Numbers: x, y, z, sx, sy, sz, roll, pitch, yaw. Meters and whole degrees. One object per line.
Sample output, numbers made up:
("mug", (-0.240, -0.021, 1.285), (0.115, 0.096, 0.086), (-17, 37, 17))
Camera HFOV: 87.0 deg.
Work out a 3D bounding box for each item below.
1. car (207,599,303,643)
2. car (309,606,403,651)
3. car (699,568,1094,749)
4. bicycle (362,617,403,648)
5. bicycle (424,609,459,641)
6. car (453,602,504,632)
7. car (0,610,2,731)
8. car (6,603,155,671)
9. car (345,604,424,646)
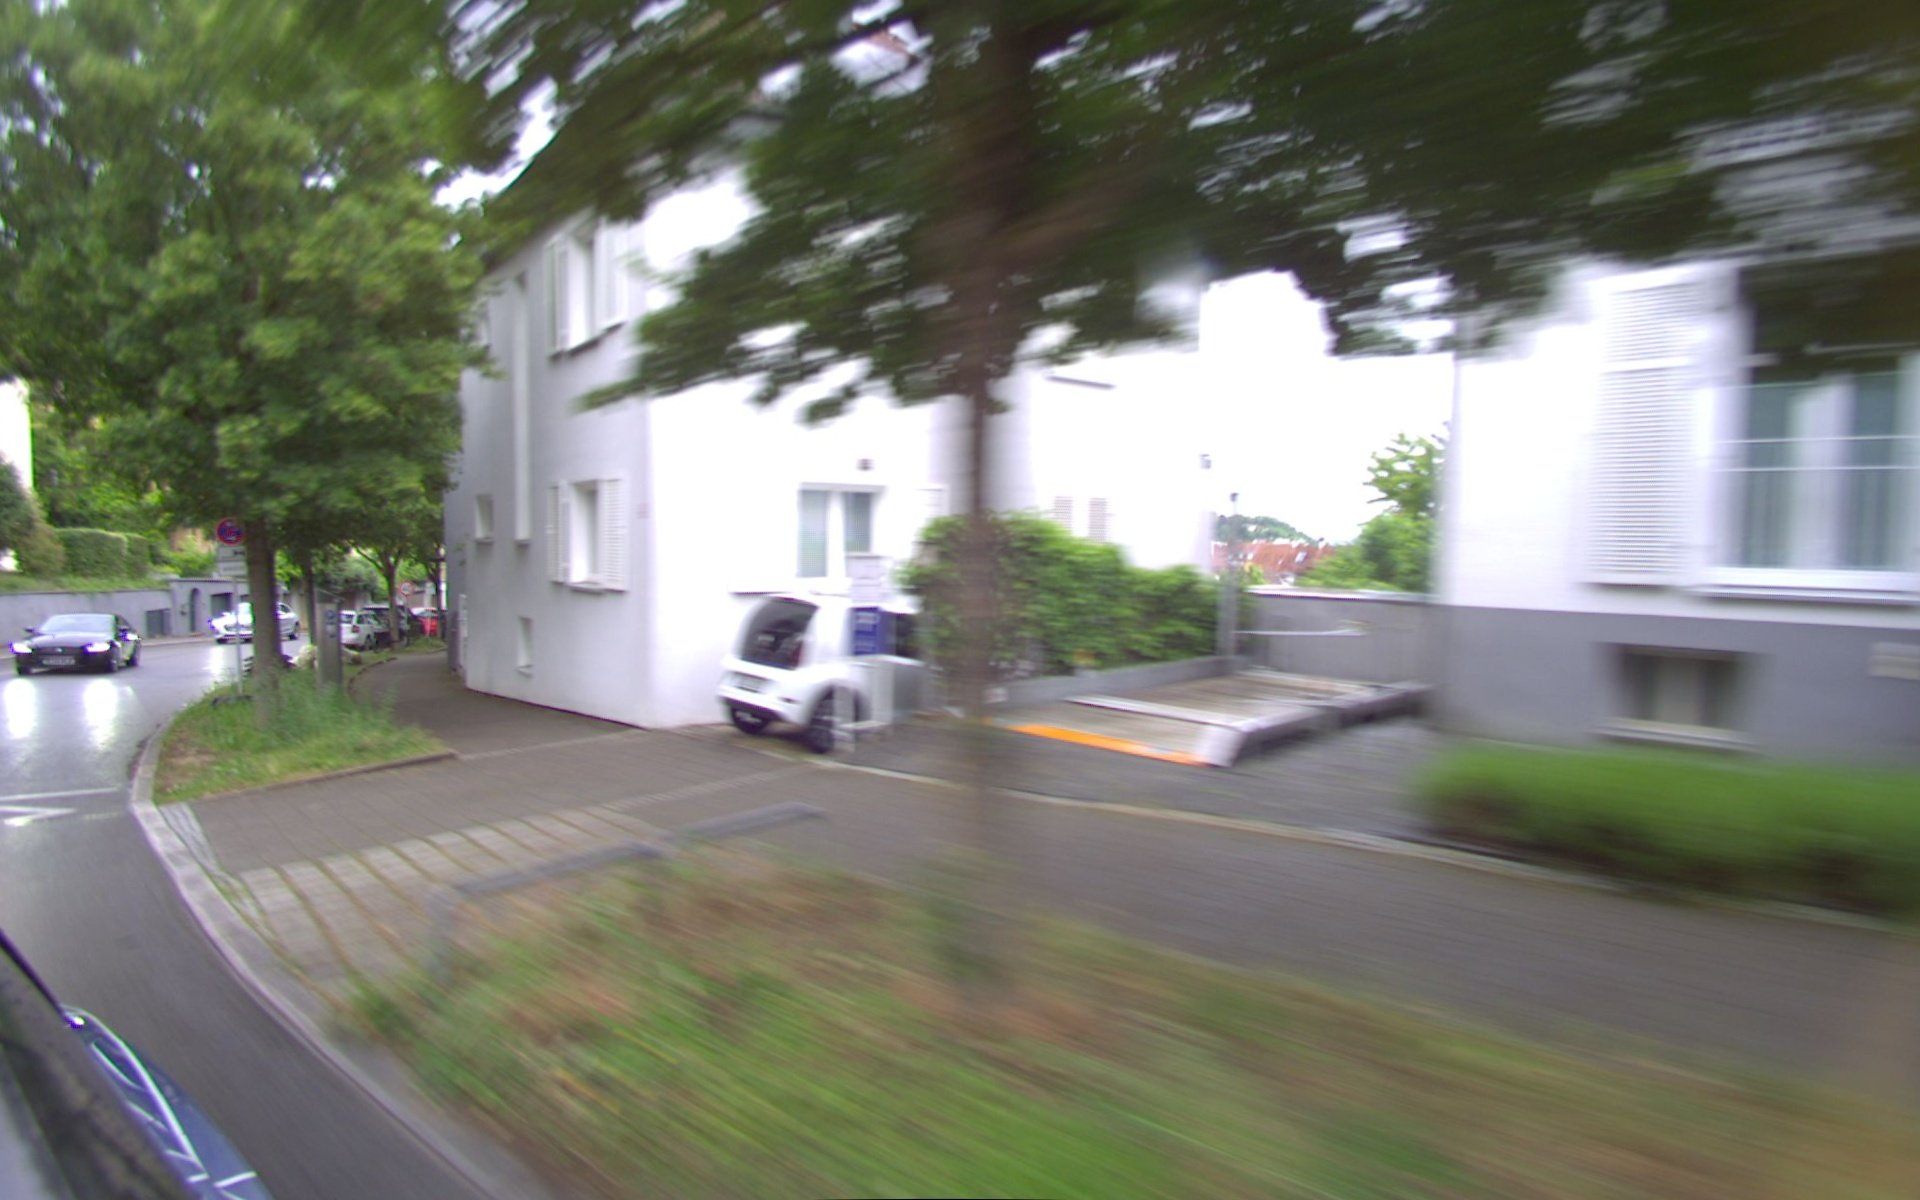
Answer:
("car", (-28.907, 0.818, 41.679), (1.979, 1.674, 4.459), (2, 0, -18))
("car", (-22.198, 1.000, 37.369), (1.659, 1.520, 4.326), (2, -1, -12))
("car", (-0.553, 0.518, 10.754), (3.937, 1.573, 1.752), (0, 0, -41))
("bicycle", (-19.852, 1.102, 34.842), (0.430, 1.037, 1.907), (0, 0, -4))
("bicycle", (-20.926, 0.987, 40.894), (0.611, 1.261, 1.908), (0, 0, -6))
("car", (-26.747, 0.918, 56.295), (1.535, 1.522, 3.390), (4, 0, -8))
("car", (-11.322, 0.846, 10.540), (1.554, 1.463, 3.595), (-1, 0, -37))
("car", (-21.578, 0.876, 25.025), (1.777, 1.500, 4.030), (-1, -1, -26))
("car", (-23.751, 0.992, 41.939), (1.659, 1.621, 4.589), (2, -1, -15))
